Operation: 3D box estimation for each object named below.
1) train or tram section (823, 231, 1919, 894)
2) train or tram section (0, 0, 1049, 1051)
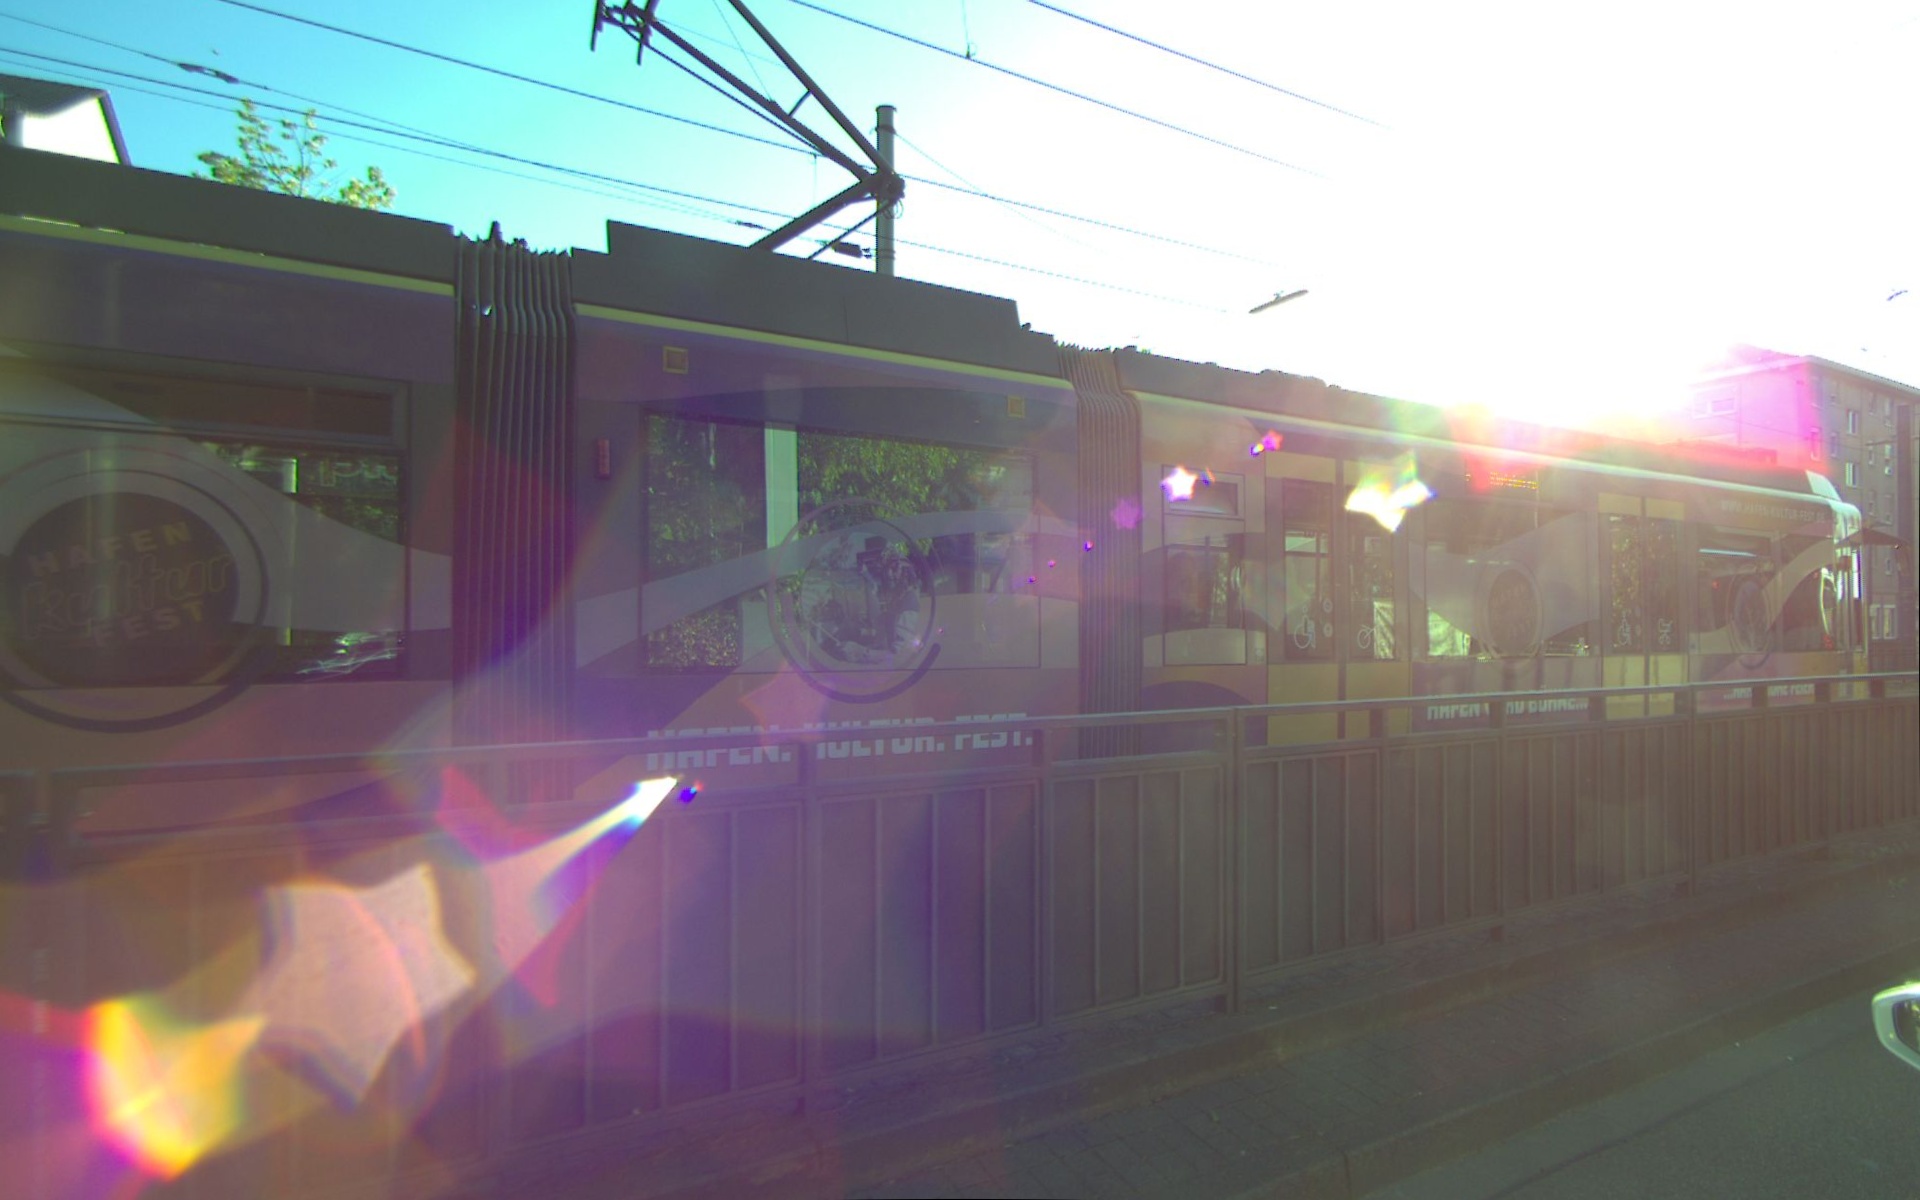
[{"bbox_3d":[5.307,-0.063,9.834,13.174,3.565,2.629,1,-2,-30],"label":"train or tram section"},{"bbox_3d":[-5.646,-0.302,3.542,12.632,3.596,2.716,1,-2,-30],"label":"train or tram section"}]
